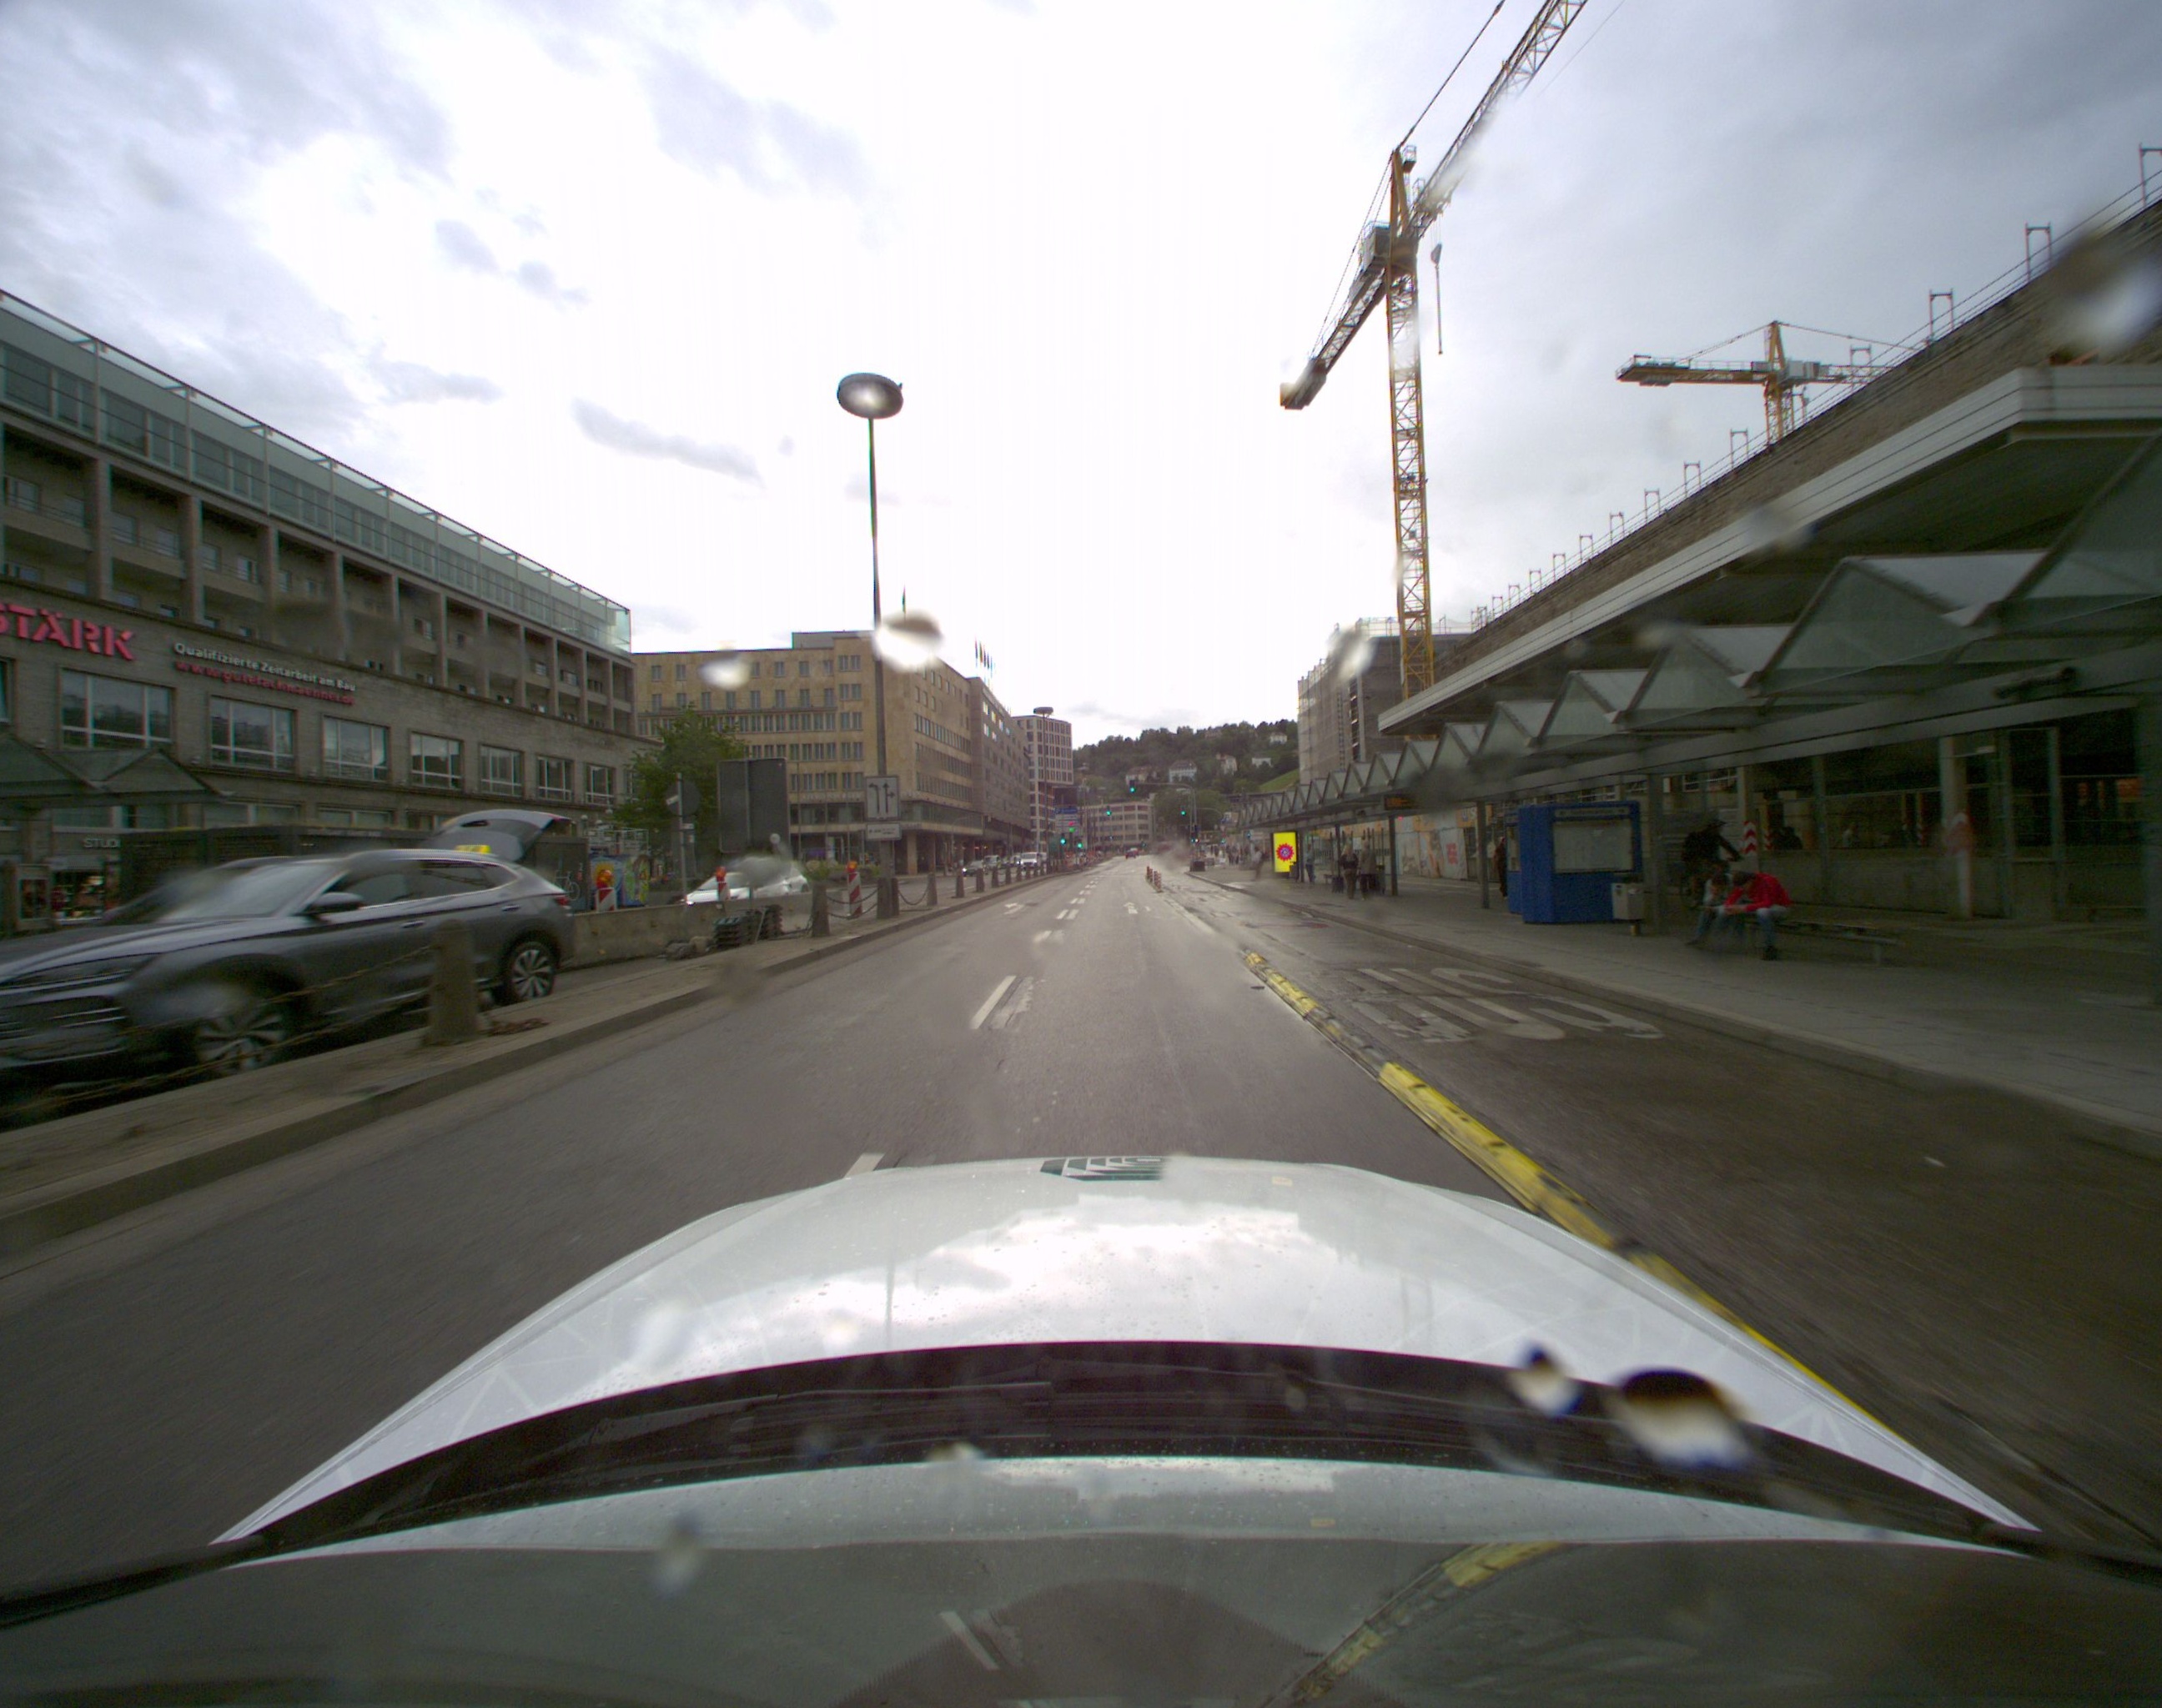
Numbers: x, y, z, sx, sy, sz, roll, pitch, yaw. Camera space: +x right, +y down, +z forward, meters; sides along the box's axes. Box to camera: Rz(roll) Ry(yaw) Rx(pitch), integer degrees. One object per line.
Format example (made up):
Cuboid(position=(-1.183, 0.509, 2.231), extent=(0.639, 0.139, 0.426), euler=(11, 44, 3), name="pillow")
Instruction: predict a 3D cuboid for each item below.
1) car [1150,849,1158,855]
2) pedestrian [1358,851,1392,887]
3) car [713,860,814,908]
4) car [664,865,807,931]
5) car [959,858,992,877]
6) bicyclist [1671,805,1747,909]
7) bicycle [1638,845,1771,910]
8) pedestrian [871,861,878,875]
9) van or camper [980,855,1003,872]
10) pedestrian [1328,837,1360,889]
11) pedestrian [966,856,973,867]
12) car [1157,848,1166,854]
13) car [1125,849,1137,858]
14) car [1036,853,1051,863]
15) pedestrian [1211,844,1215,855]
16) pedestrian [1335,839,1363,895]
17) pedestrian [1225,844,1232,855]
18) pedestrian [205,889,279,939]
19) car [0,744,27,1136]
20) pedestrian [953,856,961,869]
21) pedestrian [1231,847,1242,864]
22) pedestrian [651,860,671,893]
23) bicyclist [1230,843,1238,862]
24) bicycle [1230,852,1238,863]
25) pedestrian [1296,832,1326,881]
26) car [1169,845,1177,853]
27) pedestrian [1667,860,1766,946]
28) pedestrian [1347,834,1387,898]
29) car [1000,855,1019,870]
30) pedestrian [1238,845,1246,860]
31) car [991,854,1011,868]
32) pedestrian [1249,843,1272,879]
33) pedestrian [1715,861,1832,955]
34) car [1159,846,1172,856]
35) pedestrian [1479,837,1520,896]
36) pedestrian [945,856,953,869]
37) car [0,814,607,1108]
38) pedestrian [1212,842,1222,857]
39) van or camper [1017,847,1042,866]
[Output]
Cuboid(position=(17.843, -0.488, 198.576), extent=(1.812, 1.442, 4.003), euler=(0, 0, 3), name="car")
Cuboid(position=(10.401, 0.526, 28.814), extent=(0.909, 1.230, 0.841), euler=(0, 0, 2), name="pedestrian")
Cuboid(position=(-12.609, 1.141, 32.717), extent=(1.955, 1.564, 4.837), euler=(-4, 0, 1), name="car")
Cuboid(position=(-10.079, 1.210, 24.248), extent=(1.955, 1.564, 4.837), euler=(-4, 0, 1), name="car")
Cuboid(position=(-9.870, 1.248, 76.583), extent=(1.984, 1.617, 4.984), euler=(-2, 0, 5), name="car")
Cuboid(position=(12.411, 0.056, 16.118), extent=(0.820, 1.981, 0.818), euler=(-2, 0, 0), name="bicyclist")
Cuboid(position=(12.427, 0.438, 16.358), extent=(0.812, 1.198, 2.405), euler=(-2, 0, 0), name="bicycle")
Cuboid(position=(-23.595, 1.584, 93.019), extent=(0.696, 1.644, 0.647), euler=(-2, 0, -15), name="pedestrian")
Cuboid(position=(-11.496, 1.237, 105.004), extent=(1.985, 2.013, 4.970), euler=(-2, 0, 4), name="van or camper")
Cuboid(position=(8.669, 0.296, 26.868), extent=(0.805, 1.660, 0.805), euler=(-1, 0, 2), name="pedestrian")
Cuboid(position=(-15.329, 0.986, 111.881), extent=(0.791, 1.526, 0.918), euler=(-2, -1, 6), name="pedestrian")
Cuboid(position=(21.307, -0.846, 215.344), extent=(1.985, 1.442, 4.003), euler=(0, 0, 3), name="car")
Cuboid(position=(9.190, -0.028, 149.223), extent=(1.986, 1.552, 4.002), euler=(-2, 0, 2), name="car")
Cuboid(position=(-6.201, 0.712, 135.078), extent=(1.760, 1.609, 4.231), euler=(-2, 0, 4), name="car")
Cuboid(position=(22.349, -0.838, 137.840), extent=(0.684, 1.841, 0.616), euler=(-2, -1, 9), name="pedestrian")
Cuboid(position=(7.786, 0.373, 23.683), extent=(0.519, 1.566, 0.729), euler=(-2, 0, 2), name="pedestrian")
Cuboid(position=(23.510, -0.706, 129.664), extent=(0.940, 1.841, 0.870), euler=(-2, -1, 10), name="pedestrian")
Cuboid(position=(-21.562, 1.517, 20.959), extent=(0.577, 1.182, 1.261), euler=(0, 0, 2), name="pedestrian")
Cuboid(position=(-7.131, 0.512, 1.883), extent=(1.986, 2.178, 5.547), euler=(-2, 0, 2), name="car")
Cuboid(position=(-15.202, 1.072, 99.687), extent=(0.717, 1.557, 0.896), euler=(-2, -1, 5), name="pedestrian")
Cuboid(position=(15.821, 0.142, 82.788), extent=(0.787, 1.608, 0.841), euler=(-3, -1, 33), name="pedestrian")
Cuboid(position=(-25.694, 1.361, 49.834), extent=(0.664, 2.013, 0.794), euler=(-3, 0, 4), name="pedestrian")
Cuboid(position=(15.126, -0.116, 80.377), extent=(0.699, 1.845, 0.970), euler=(-1, 0, 9), name="bicyclist")
Cuboid(position=(15.124, 0.353, 80.354), extent=(0.703, 1.049, 1.811), euler=(-1, 1, 9), name="bicycle")
Cuboid(position=(9.823, 0.103, 34.761), extent=(0.808, 2.050, 0.916), euler=(0, 0, -38), name="pedestrian")
Cuboid(position=(21.670, -1.241, 191.883), extent=(1.767, 1.639, 4.005), euler=(-3, -3, 5), name="car")
Cuboid(position=(8.377, 0.632, 10.768), extent=(0.724, 1.065, 0.709), euler=(-2, 0, 2), name="pedestrian")
Cuboid(position=(7.838, 0.333, 22.338), extent=(0.759, 1.693, 0.822), euler=(-2, 0, 1), name="pedestrian")
Cuboid(position=(-10.270, 1.205, 117.915), extent=(1.984, 2.013, 4.005), euler=(-2, 0, 5), name="car")
Cuboid(position=(19.034, -0.177, 96.268), extent=(0.858, 1.841, 0.800), euler=(-2, 0, 14), name="pedestrian")
Cuboid(position=(-10.968, 0.977, 111.415), extent=(1.984, 1.838, 4.006), euler=(-2, 0, 5), name="car")
Cuboid(position=(8.621, 0.335, 39.131), extent=(0.705, 1.679, 0.717), euler=(-2, 0, -25), name="pedestrian")
Cuboid(position=(8.418, 0.640, 9.935), extent=(0.724, 1.065, 0.809), euler=(-2, 0, 2), name="pedestrian")
Cuboid(position=(14.572, -0.527, 140.323), extent=(1.985, 1.706, 4.003), euler=(-2, 0, 3), name="car")
Cuboid(position=(11.690, 0.345, 22.773), extent=(0.704, 1.607, 0.730), euler=(-3, 0, 2), name="pedestrian")
Cuboid(position=(-16.174, 1.097, 99.771), extent=(0.717, 1.557, 0.907), euler=(-2, -1, 5), name="pedestrian")
Cuboid(position=(-6.723, 0.661, 7.242), extent=(1.985, 1.722, 4.785), euler=(-2, 0, 3), name="car")
Cuboid(position=(16.992, -0.513, 101.704), extent=(0.937, 1.841, 0.953), euler=(-3, -1, 34), name="pedestrian")
Cuboid(position=(-5.734, 0.289, 91.786), extent=(1.984, 2.014, 5.196), euler=(-2, -1, 5), name="van or camper")
